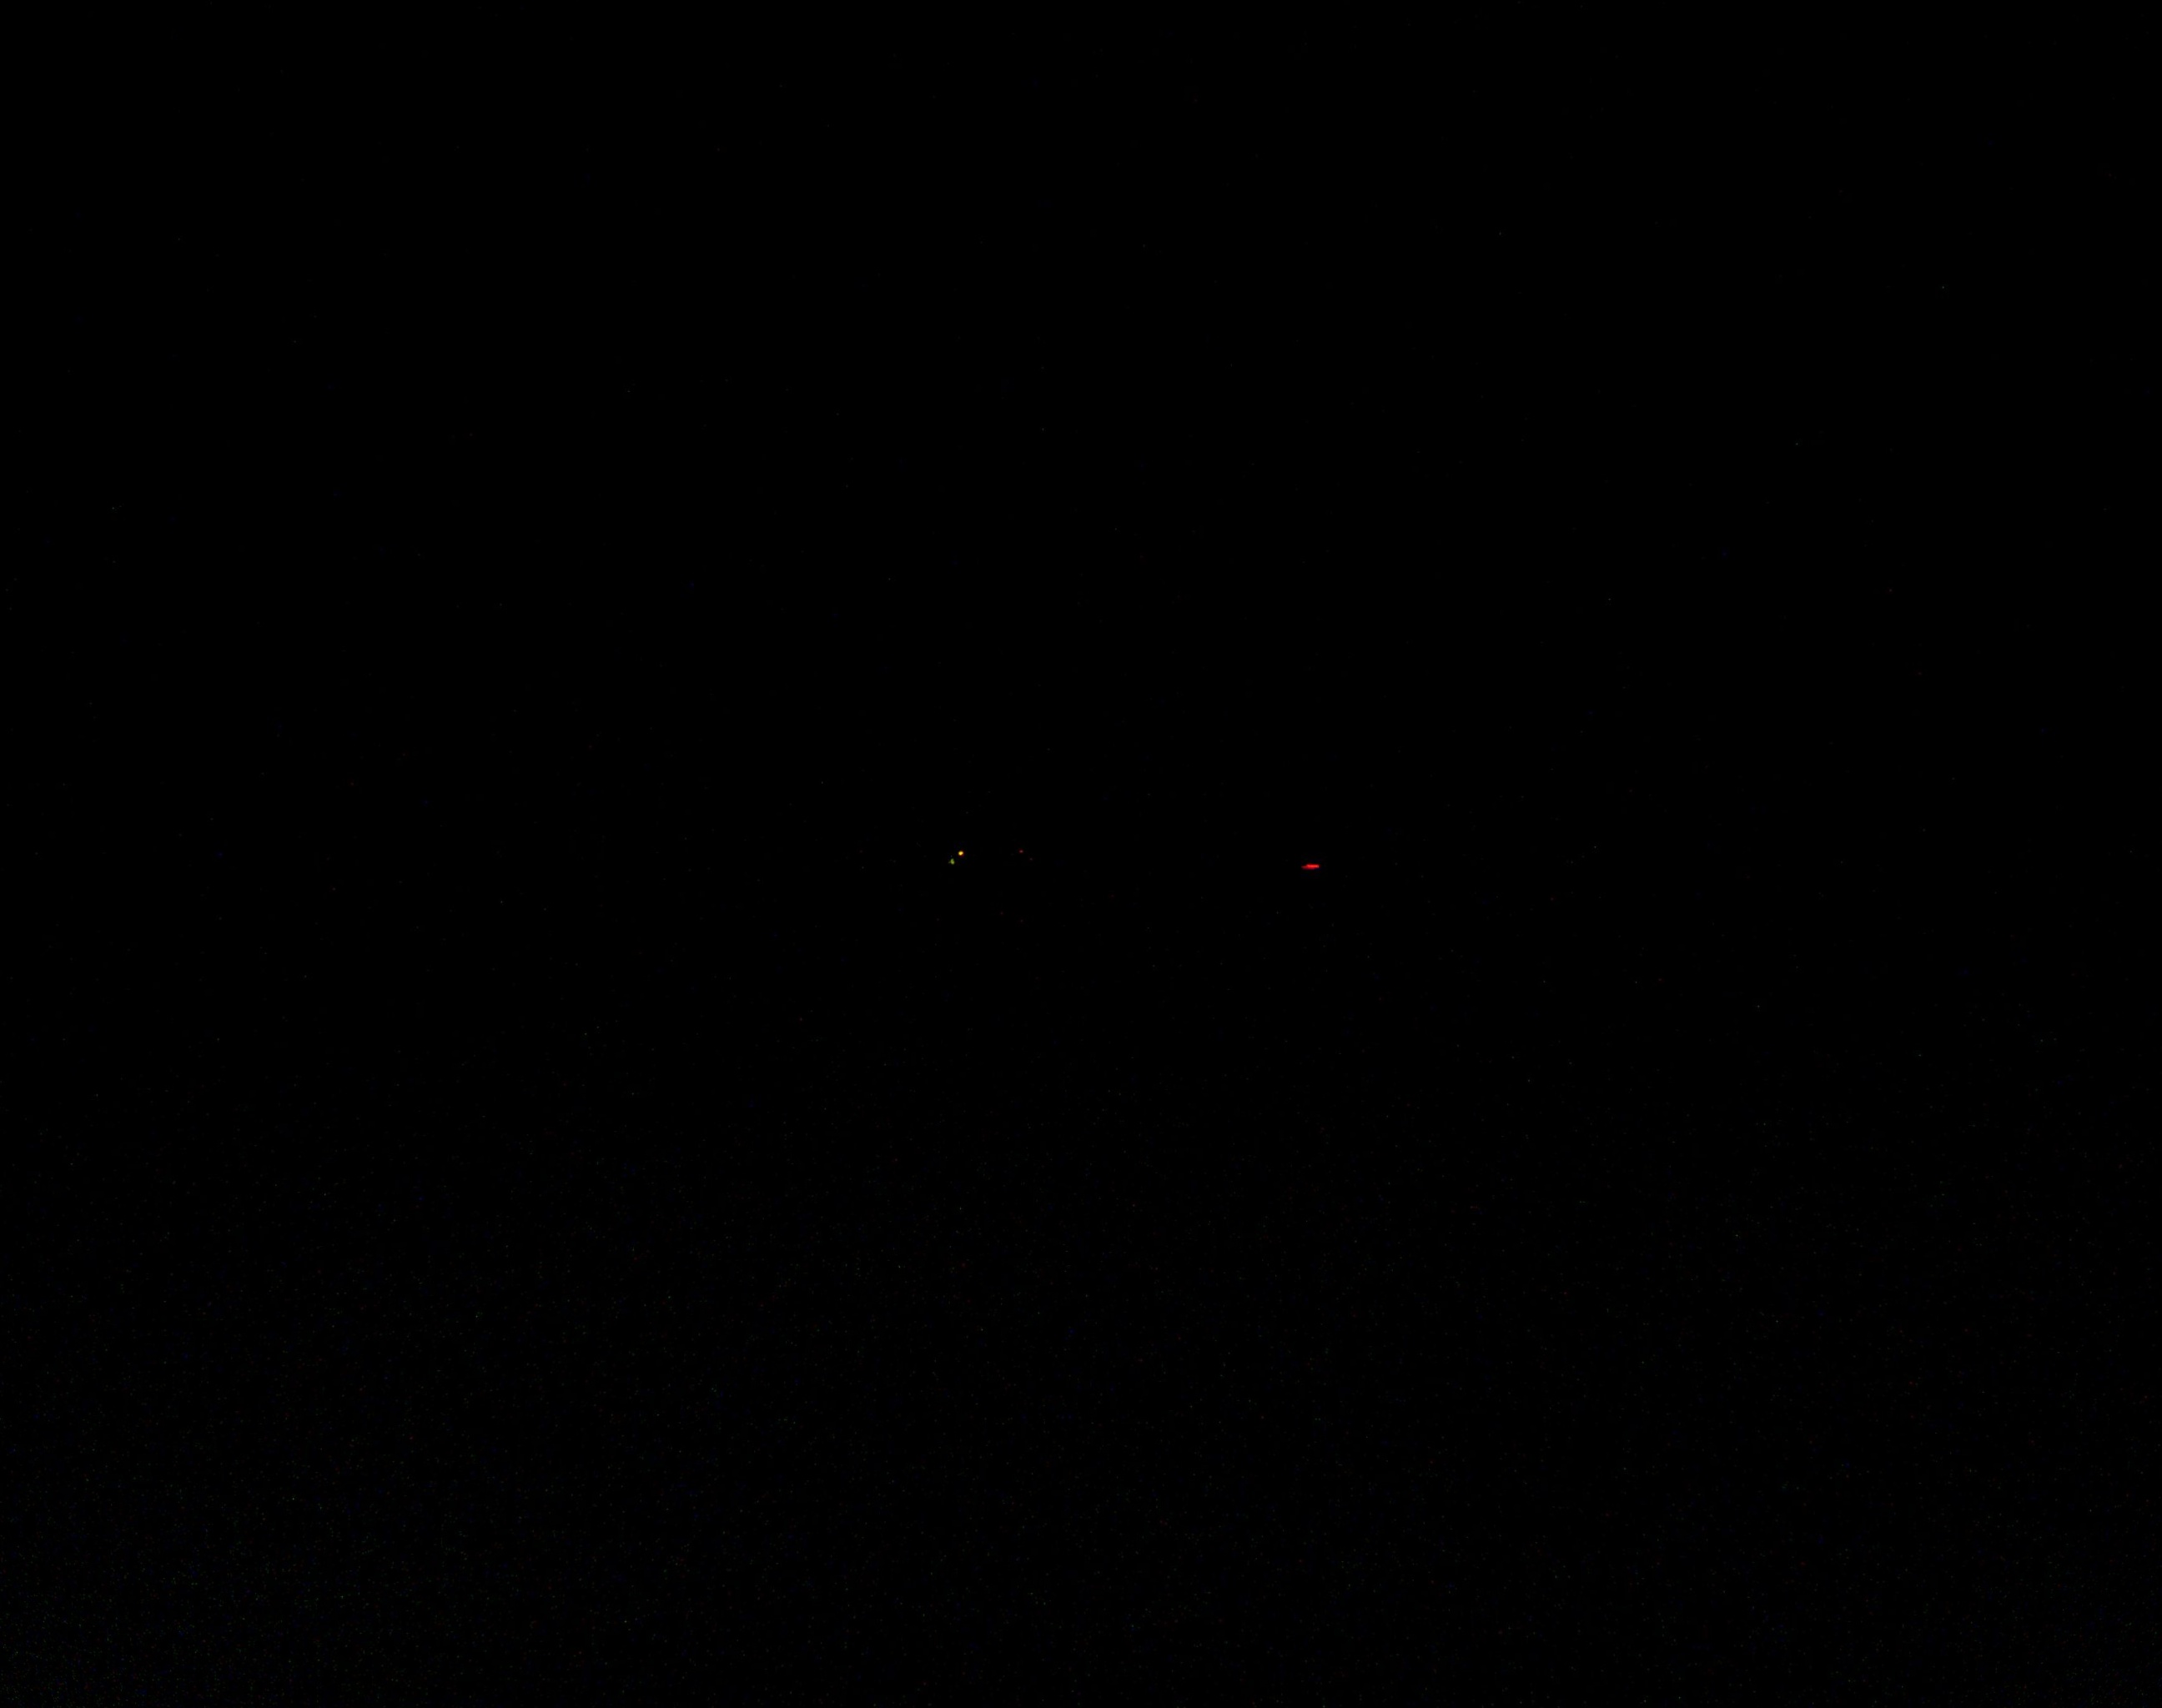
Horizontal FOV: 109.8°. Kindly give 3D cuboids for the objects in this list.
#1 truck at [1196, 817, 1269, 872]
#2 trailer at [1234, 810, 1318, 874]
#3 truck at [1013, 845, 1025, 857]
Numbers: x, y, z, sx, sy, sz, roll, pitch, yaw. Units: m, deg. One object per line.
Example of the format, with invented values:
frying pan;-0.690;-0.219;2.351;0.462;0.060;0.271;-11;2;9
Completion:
truck;12.052;-0.726;61.735;2.689;4.021;10.647;-1;0;-6
trailer;13.084;-0.746;51.947;2.725;3.933;9.043;-1;0;-5
truck;-21.514;-1.041;263.101;2.755;4.103;13.895;-1;0;-11
